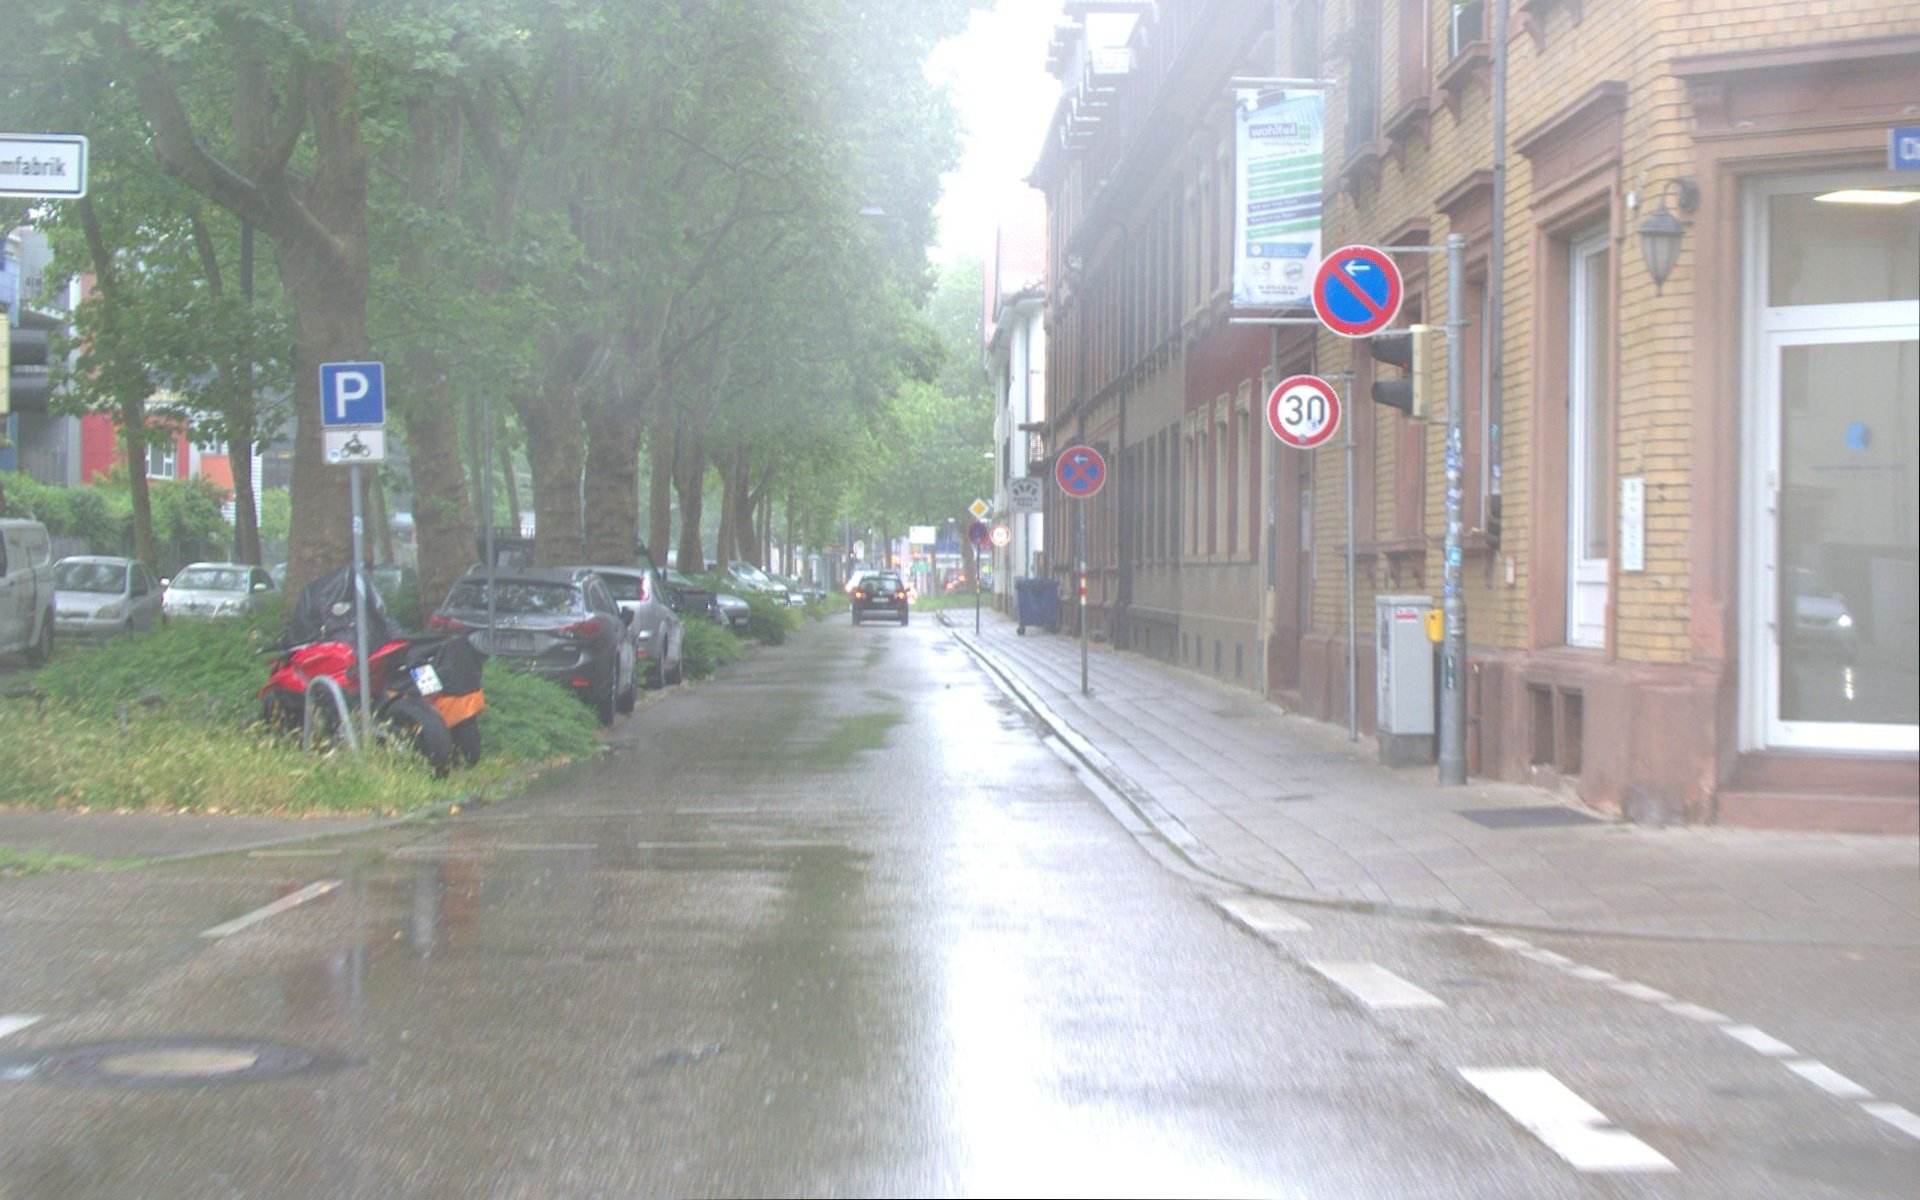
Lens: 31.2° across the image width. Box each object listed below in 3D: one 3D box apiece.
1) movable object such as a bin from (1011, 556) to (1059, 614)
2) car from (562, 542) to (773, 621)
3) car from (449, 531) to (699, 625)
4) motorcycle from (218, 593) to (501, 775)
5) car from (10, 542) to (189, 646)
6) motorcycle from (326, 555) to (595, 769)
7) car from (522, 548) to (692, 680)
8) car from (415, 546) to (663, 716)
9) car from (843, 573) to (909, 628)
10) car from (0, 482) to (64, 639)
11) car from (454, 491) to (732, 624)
[{"bbox_3d":[1.762,-0.359,81.228,1.021,1.297,1.367,-3,1,-1],"label":"movable object such as a bin"},{"bbox_3d":[-6.137,-0.402,72.092,4.059,1.532,1.832,2,1,29],"label":"car"},{"bbox_3d":[-6.042,-0.352,53.829,3.497,1.431,1.779,0,1,26],"label":"car"},{"bbox_3d":[-4.330,0.583,24.690,2.141,1.205,0.867,2,0,44],"label":"motorcycle"},{"bbox_3d":[-13.453,-0.117,53.969,1.904,1.529,4.216,1,1,-2],"label":"car"},{"bbox_3d":[-3.727,0.437,25.531,2.108,1.495,0.769,2,0,42],"label":"motorcycle"},{"bbox_3d":[-4.377,0.141,43.191,1.729,1.509,4.207,2,1,-1],"label":"car"},{"bbox_3d":[-4.028,0.256,33.575,1.896,1.480,4.622,2,1,-1],"label":"car"},{"bbox_3d":[-2.634,0.010,107.835,1.993,1.634,4.000,2,0,-1],"label":"car"},{"bbox_3d":[-13.229,-0.562,44.716,2.053,1.990,5.435,3,1,-5],"label":"car"},{"bbox_3d":[-6.513,-0.754,60.800,4.653,2.275,2.008,1,1,32],"label":"car"}]
